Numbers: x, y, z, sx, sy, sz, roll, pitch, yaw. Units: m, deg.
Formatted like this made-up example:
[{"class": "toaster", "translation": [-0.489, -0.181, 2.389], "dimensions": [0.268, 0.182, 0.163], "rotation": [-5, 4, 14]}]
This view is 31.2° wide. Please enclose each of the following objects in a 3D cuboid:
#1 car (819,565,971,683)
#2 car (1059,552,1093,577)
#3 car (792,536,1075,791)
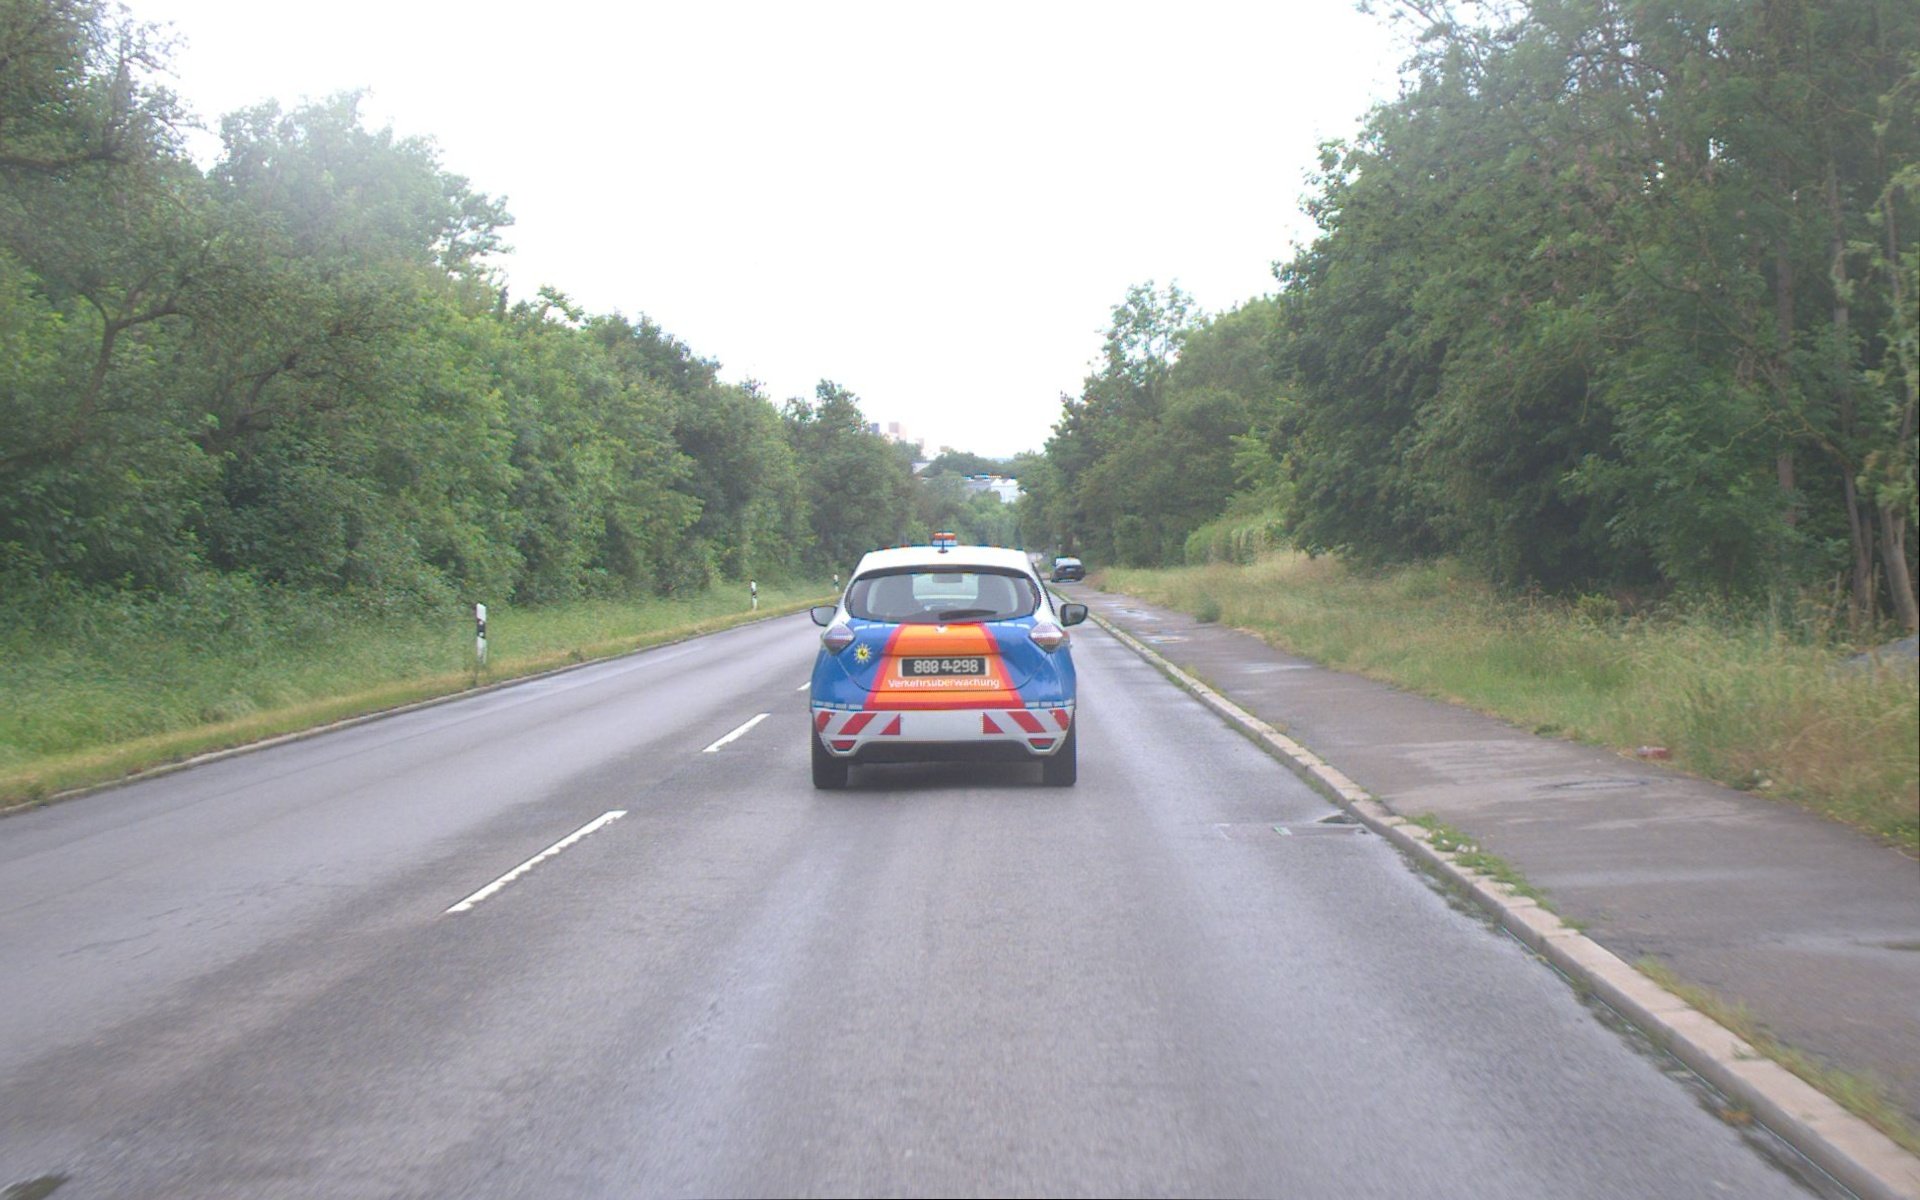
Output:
[{"class": "car", "translation": [-0.736, 0.258, 40.766], "dimensions": [1.598, 1.282, 3.476], "rotation": [-2, 1, 2]}, {"class": "car", "translation": [6.908, -2.126, 205.089], "dimensions": [1.993, 1.371, 4.000], "rotation": [-2, 1, 2]}, {"class": "car", "translation": [-0.140, 0.361, 23.248], "dimensions": [1.752, 1.550, 3.792], "rotation": [0, 2, 1]}]
